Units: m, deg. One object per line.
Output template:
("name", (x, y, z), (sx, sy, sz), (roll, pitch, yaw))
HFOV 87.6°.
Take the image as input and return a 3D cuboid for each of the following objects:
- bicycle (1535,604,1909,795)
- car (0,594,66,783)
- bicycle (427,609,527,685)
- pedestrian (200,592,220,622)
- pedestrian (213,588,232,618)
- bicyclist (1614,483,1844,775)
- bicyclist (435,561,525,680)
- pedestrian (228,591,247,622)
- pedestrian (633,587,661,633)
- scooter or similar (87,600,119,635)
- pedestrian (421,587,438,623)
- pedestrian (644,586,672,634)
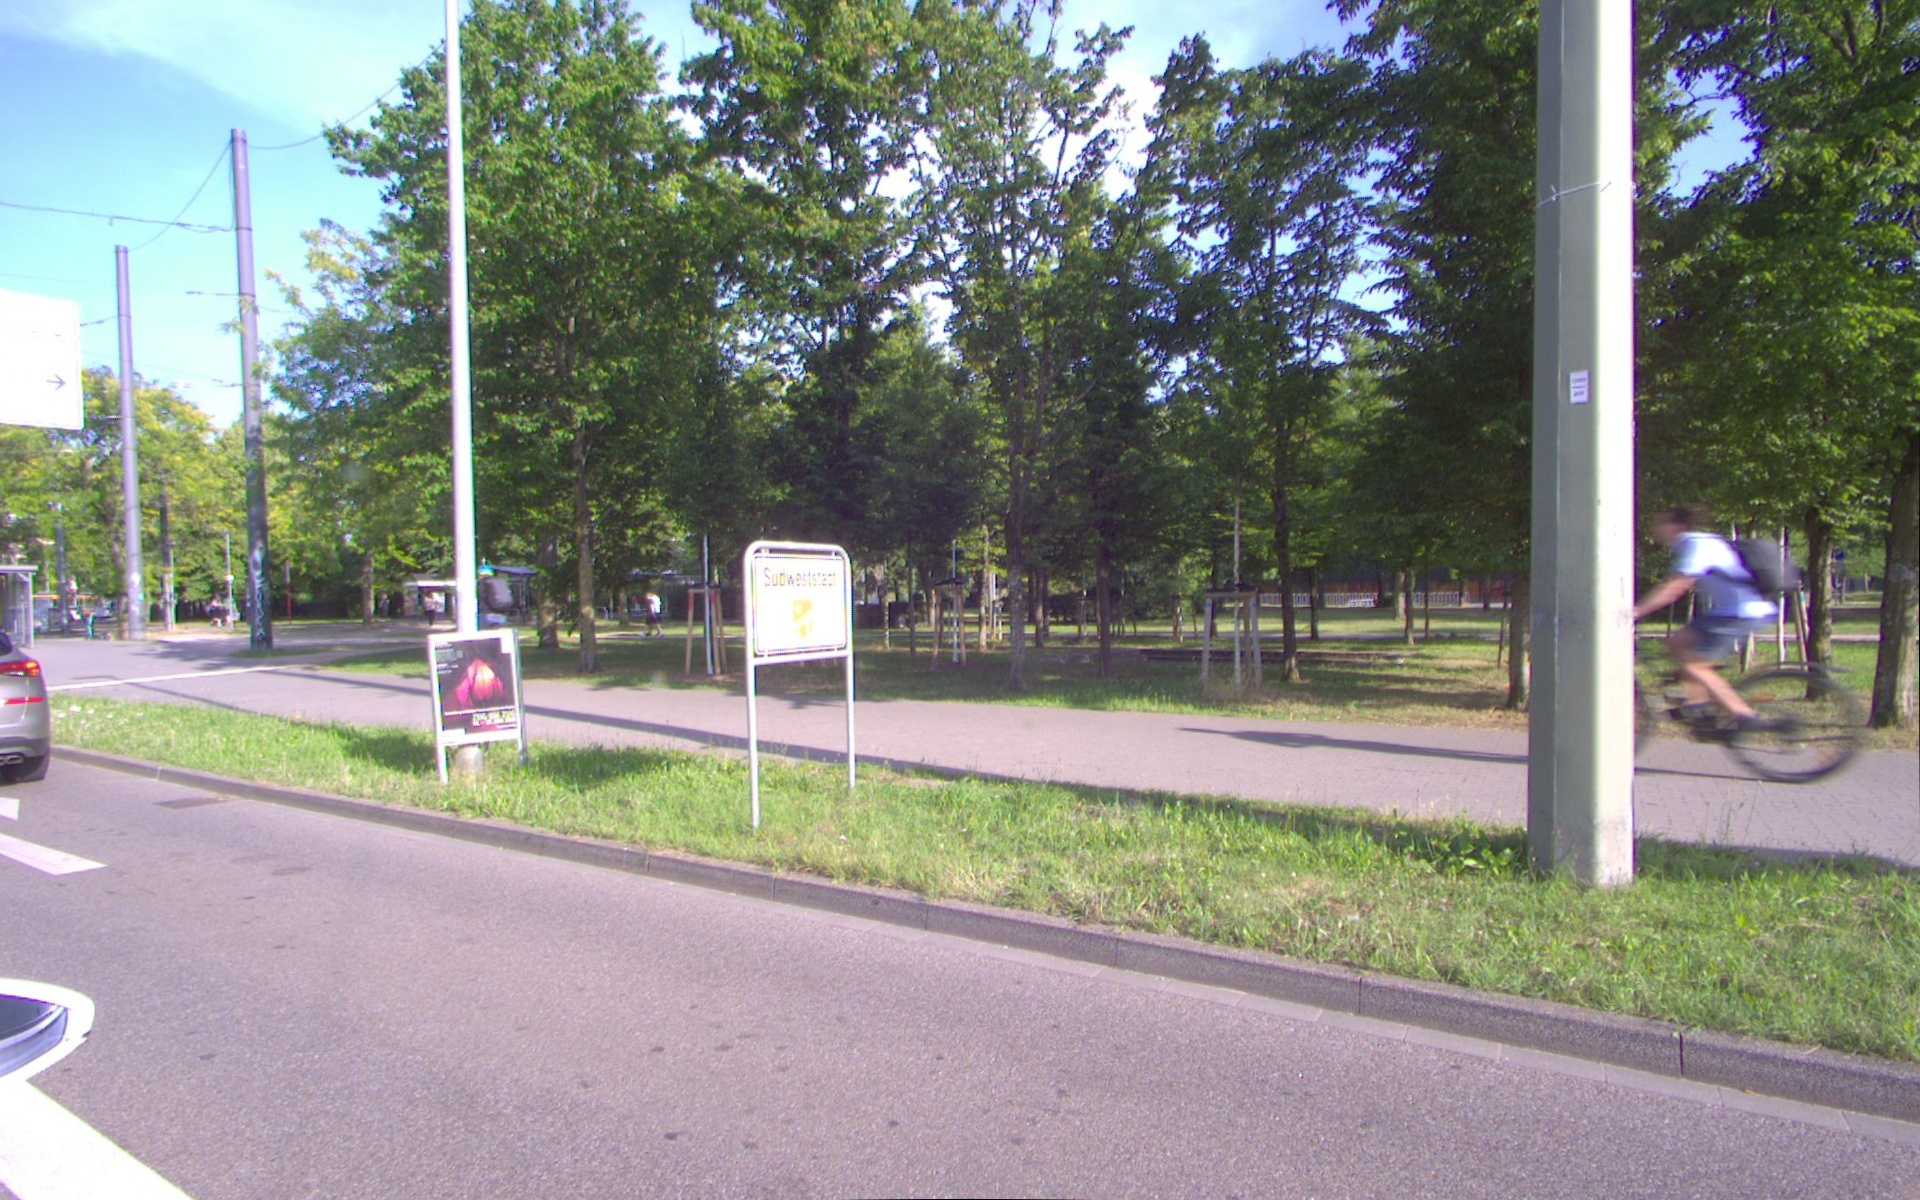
("bicycle", (4.965, 0.603, 6.711), (1.912, 1.103, 0.639), (-1, 3, 32))
("car", (-10.072, 0.766, 9.196), (3.760, 1.621, 1.832), (0, -1, 32))
("bicycle", (-7.646, 0.717, 15.832), (1.711, 1.103, 0.638), (0, 3, 36))
("pedestrian", (-41.772, 0.372, 55.784), (0.681, 1.632, 0.639), (0, 1, 32))
("pedestrian", (-40.921, 0.168, 55.568), (0.681, 1.688, 0.639), (0, 1, 32))
("bicyclist", (5.014, 0.172, 6.622), (1.123, 1.770, 0.647), (-1, 4, 31))
("bicyclist", (-7.532, 0.304, 15.710), (1.125, 1.770, 0.717), (0, 4, 36))
("pedestrian", (-39.808, 0.350, 55.166), (0.681, 1.688, 0.639), (0, 1, 32))
("pedestrian", (-12.415, 0.400, 39.747), (0.867, 1.800, 0.670), (0, -1, 33))
("scooter or similar", (-31.443, 0.635, 36.744), (1.115, 1.248, 0.351), (0, 1, 18))
("pedestrian", (-27.629, 0.264, 52.132), (0.594, 1.891, 0.462), (0, -1, 11))
("pedestrian", (-12.201, 0.414, 40.473), (0.868, 1.922, 0.670), (0, -1, 33))
